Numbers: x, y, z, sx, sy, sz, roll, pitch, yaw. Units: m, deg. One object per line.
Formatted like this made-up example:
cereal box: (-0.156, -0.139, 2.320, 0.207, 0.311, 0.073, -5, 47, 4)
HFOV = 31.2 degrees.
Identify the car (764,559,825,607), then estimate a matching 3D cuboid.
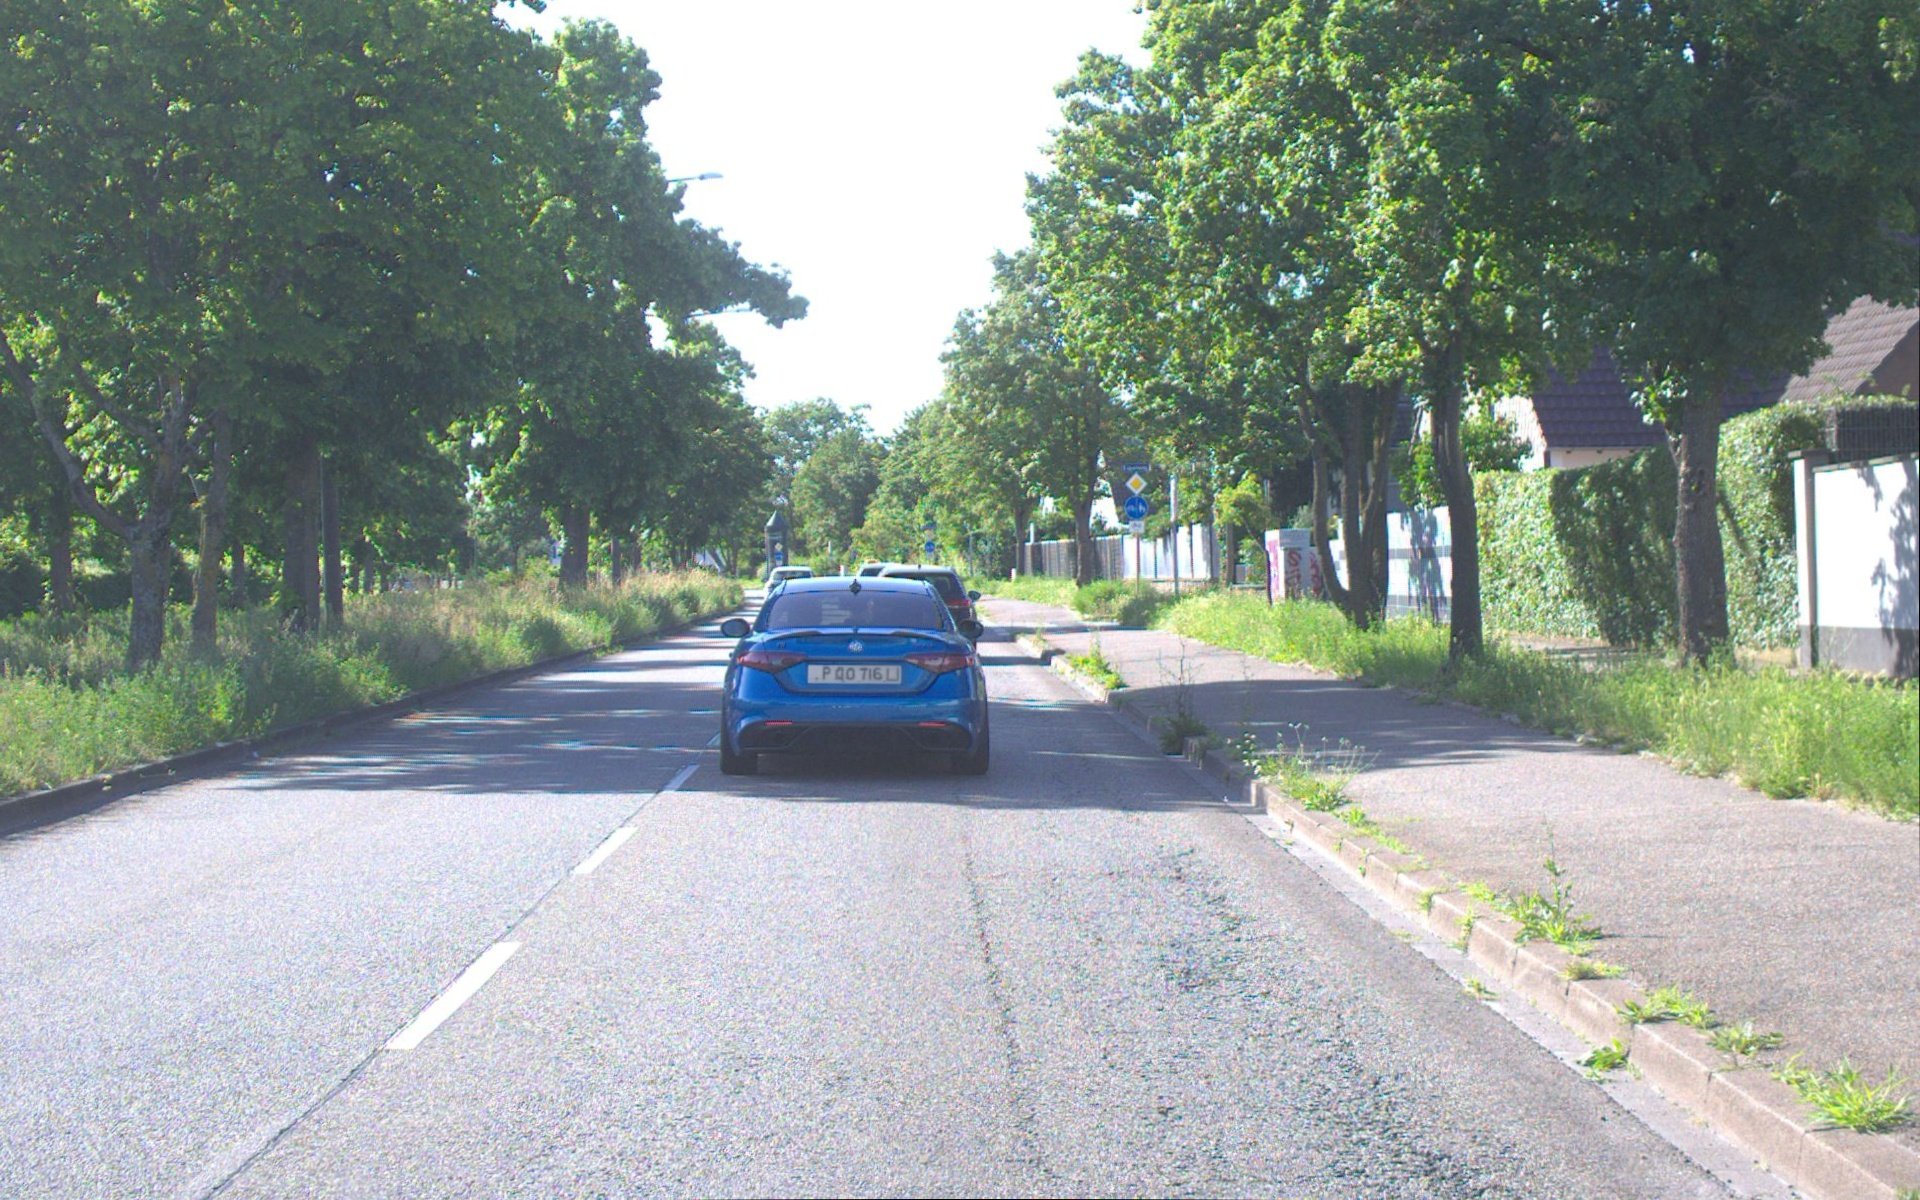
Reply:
car: (-5.341, -0.562, 110.663, 1.915, 1.507, 4.068, -1, 1, -3)

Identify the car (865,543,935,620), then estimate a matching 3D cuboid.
car: (-1.623, -0.506, 92.147, 1.792, 2.007, 4.000, -1, 1, -1)

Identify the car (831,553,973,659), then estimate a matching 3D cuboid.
car: (-0.945, 0.074, 53.852, 1.915, 1.574, 4.183, -1, 1, -5)

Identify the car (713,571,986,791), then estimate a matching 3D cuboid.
car: (-0.736, 0.562, 25.503, 1.838, 1.469, 4.184, 1, 0, 0)
